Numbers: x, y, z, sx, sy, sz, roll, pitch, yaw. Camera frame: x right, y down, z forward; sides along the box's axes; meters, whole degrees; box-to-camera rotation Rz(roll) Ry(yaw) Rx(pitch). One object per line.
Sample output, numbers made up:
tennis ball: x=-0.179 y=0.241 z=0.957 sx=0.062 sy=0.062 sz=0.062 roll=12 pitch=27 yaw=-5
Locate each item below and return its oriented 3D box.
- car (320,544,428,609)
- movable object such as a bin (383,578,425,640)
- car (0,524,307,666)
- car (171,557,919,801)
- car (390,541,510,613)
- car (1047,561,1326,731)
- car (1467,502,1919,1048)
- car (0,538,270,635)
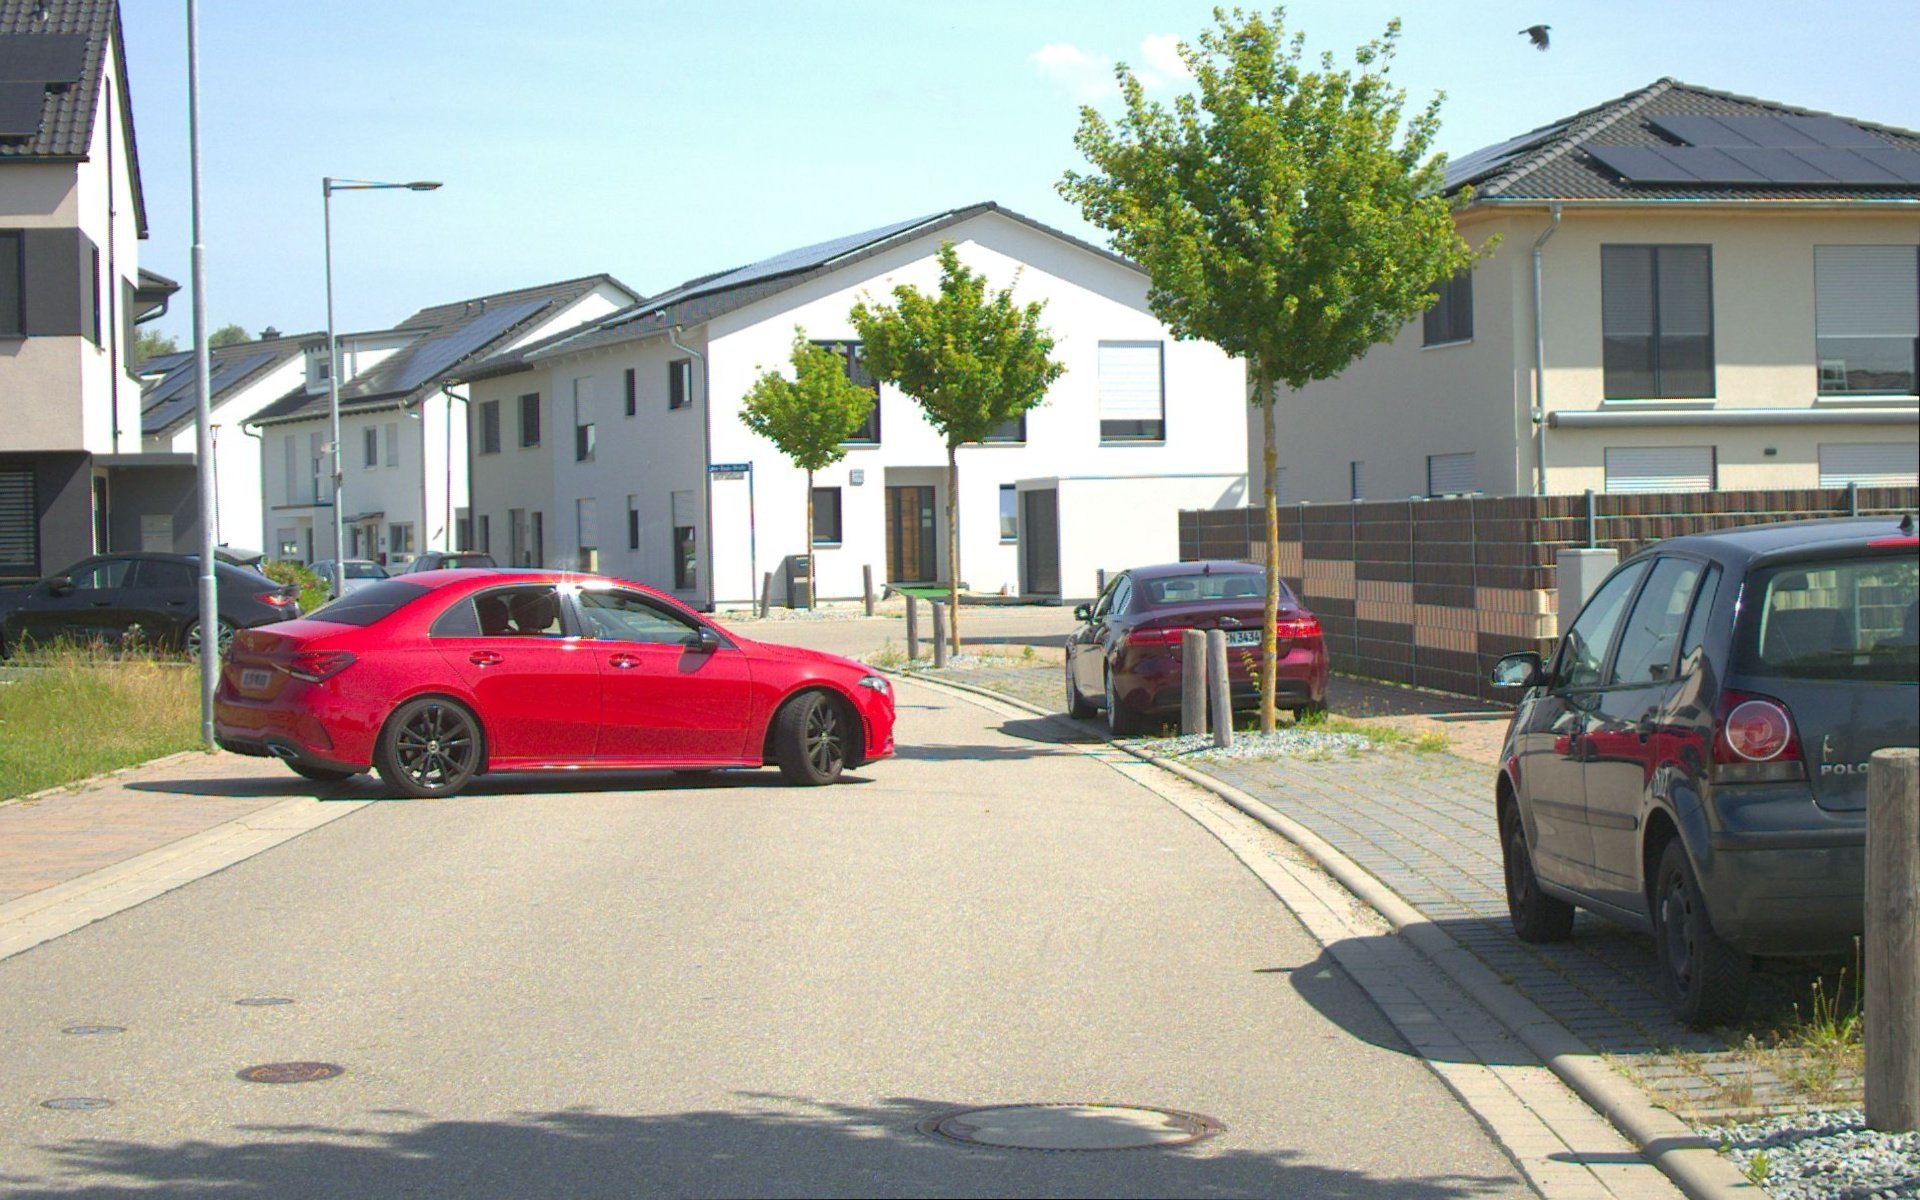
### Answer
car: x=-13.963 y=-0.557 z=81.759 sx=1.676 sy=1.459 sz=3.945 roll=-2 pitch=1 yaw=-22
movable object such as a bin: x=-8.491 y=0.130 z=52.524 sx=0.534 sy=0.933 sz=0.526 roll=1 pitch=1 yaw=1
car: x=-10.306 y=-0.075 z=42.223 sx=4.374 sy=1.626 sz=1.771 roll=1 pitch=0 yaw=-8
car: x=-2.650 y=0.446 z=22.357 sx=4.505 sy=1.433 sz=1.768 roll=-1 pitch=1 yaw=-32
car: x=-10.763 y=-0.483 z=72.384 sx=1.726 sy=1.418 sz=4.001 roll=-2 pitch=1 yaw=-19
car: x=1.900 y=0.348 z=30.190 sx=1.754 sy=1.358 sz=4.576 roll=0 pitch=1 yaw=-5
car: x=2.784 y=0.430 z=11.234 sx=1.598 sy=1.470 sz=3.675 roll=-2 pitch=1 yaw=-1
car: x=-13.133 y=-0.226 z=54.886 sx=3.986 sy=1.481 sz=1.755 roll=-1 pitch=1 yaw=-6
